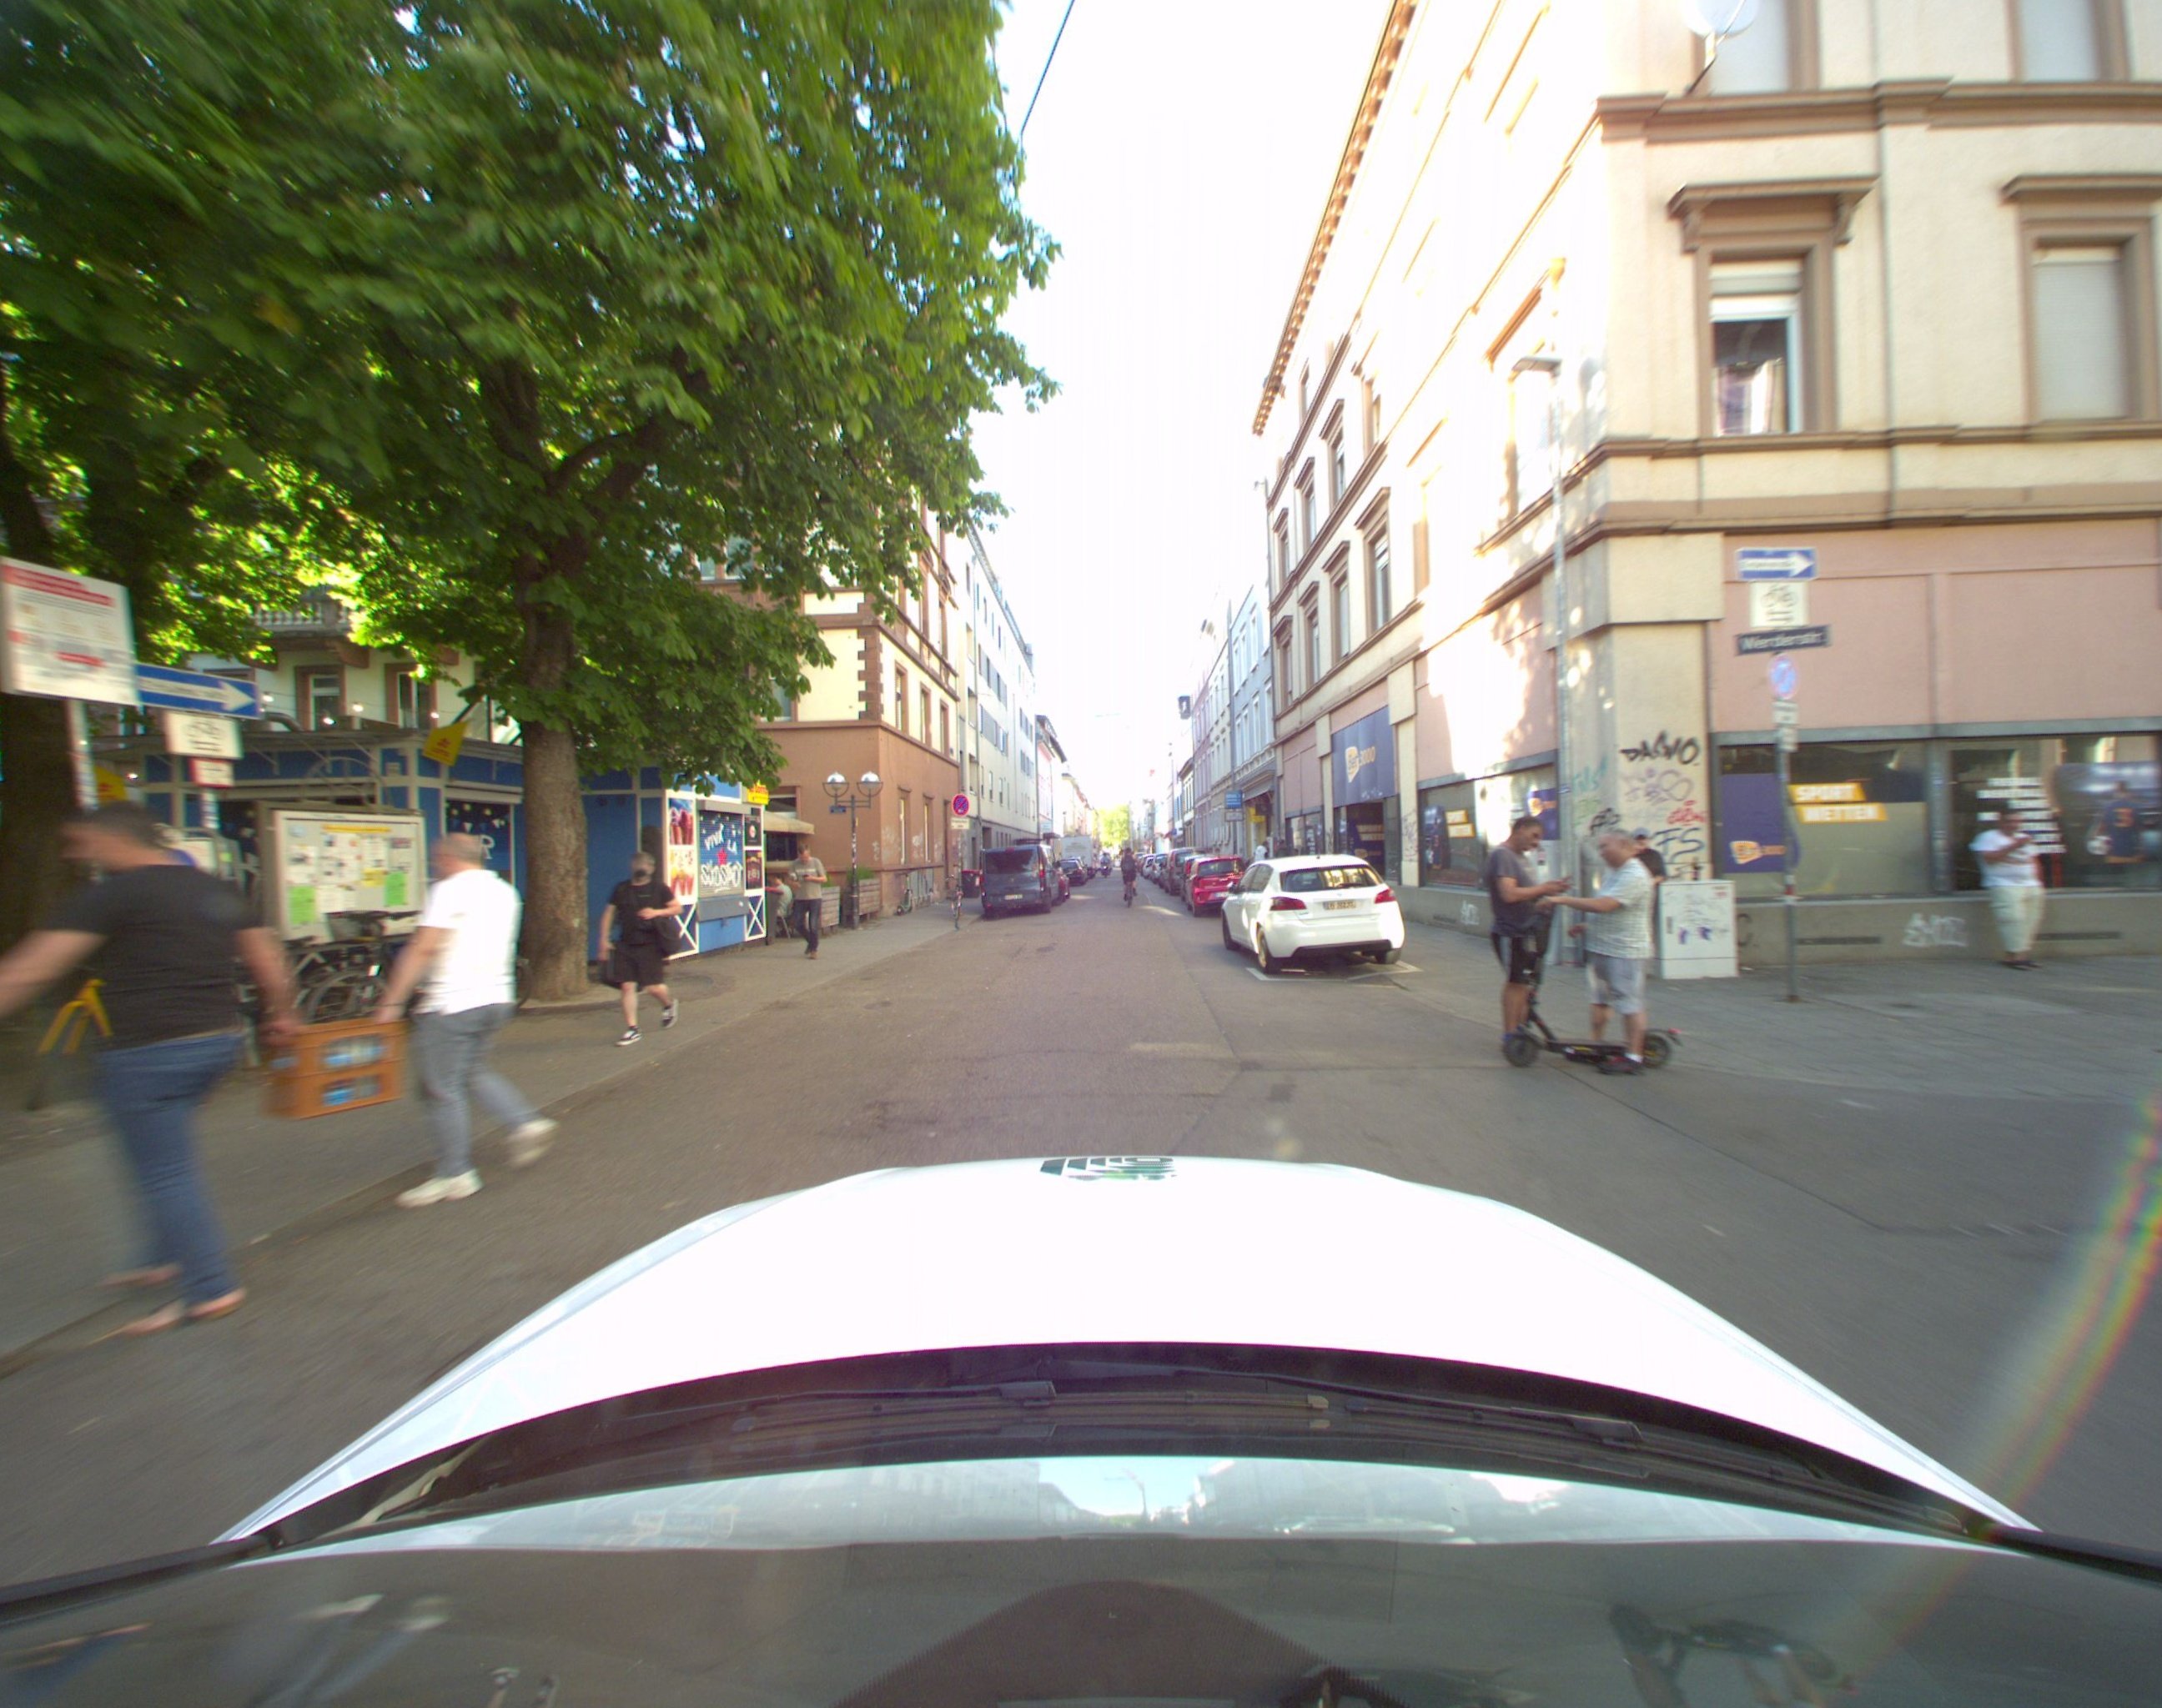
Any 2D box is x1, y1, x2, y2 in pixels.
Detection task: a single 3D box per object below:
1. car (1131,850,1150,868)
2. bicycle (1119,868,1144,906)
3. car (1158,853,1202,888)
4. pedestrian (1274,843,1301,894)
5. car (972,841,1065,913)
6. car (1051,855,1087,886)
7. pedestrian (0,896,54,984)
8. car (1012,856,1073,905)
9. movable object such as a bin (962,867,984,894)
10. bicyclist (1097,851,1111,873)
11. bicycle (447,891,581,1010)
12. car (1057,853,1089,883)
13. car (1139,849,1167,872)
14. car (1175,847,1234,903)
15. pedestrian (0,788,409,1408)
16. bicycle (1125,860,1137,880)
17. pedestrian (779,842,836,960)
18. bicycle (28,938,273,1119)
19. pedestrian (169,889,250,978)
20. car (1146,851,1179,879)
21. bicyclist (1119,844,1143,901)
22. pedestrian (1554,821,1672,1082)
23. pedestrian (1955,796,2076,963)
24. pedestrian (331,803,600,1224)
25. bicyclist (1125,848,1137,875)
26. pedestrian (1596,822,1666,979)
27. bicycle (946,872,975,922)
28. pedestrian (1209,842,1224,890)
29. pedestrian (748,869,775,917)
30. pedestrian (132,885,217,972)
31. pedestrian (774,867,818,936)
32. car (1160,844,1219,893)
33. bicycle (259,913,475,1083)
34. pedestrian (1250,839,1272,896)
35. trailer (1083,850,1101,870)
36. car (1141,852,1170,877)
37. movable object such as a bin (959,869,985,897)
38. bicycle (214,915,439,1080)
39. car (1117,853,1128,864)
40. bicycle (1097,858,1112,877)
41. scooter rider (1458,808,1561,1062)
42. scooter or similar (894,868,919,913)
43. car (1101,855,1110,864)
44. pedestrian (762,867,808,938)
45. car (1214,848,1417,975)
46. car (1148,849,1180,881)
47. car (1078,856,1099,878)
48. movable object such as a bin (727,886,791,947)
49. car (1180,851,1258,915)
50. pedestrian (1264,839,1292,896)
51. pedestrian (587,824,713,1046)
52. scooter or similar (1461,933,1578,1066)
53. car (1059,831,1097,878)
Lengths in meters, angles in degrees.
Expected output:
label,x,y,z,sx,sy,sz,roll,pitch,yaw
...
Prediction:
label,x,y,z,sx,sy,sz,roll,pitch,yaw
car,6.405,0.566,88.304,1.744,1.879,3.972,-3,-1,0
bicycle,1.516,0.983,24.679,0.674,1.074,1.942,-1,-1,2
car,4.508,0.730,37.553,1.547,1.511,3.611,-1,-1,0
pedestrian,6.276,0.439,24.768,0.586,1.529,0.658,-1,-1,-3
car,-1.719,0.604,24.311,2.011,1.879,5.302,-1,0,4
car,-0.603,0.896,45.981,1.710,1.478,4.501,-5,0,2
pedestrian,-16.124,1.284,12.217,0.562,1.268,0.678,-1,-1,1
car,-1.313,0.920,29.431,1.744,1.522,3.871,-5,-1,2
movable object such as a bin,-4.271,1.038,32.318,0.732,1.067,0.502,0,-1,-29
bicyclist,1.747,0.615,61.516,0.946,1.628,0.954,-4,0,3
bicycle,-6.529,1.054,9.504,0.497,1.131,2.030,-1,0,-11
car,-0.457,0.840,51.769,1.710,1.650,4.248,-5,0,2
car,5.664,0.469,64.401,1.911,1.706,4.368,-2,0,2
car,3.960,0.660,26.552,1.563,1.557,3.318,-5,-1,4
pedestrian,-3.175,0.726,2.917,0.691,1.825,1.003,-1,-1,0
bicycle,3.001,0.960,48.771,0.646,1.129,2.137,-1,-1,2
pedestrian,-4.356,0.729,13.015,0.644,1.834,0.698,0,-1,2
bicycle,-6.152,1.115,5.386,1.562,1.082,0.348,-1,-1,12
pedestrian,-13.625,1.226,12.744,0.595,1.321,0.635,-1,-1,8
car,5.010,0.687,50.561,1.690,1.543,4.631,-4,-1,2
bicyclist,1.513,0.562,24.664,0.665,1.677,1.097,-1,-1,2
pedestrian,3.604,0.616,5.517,0.568,1.638,0.522,0,-1,-44
pedestrian,9.952,0.264,8.689,0.688,1.726,0.475,-1,-1,1
pedestrian,-2.908,0.701,3.923,0.758,1.835,0.688,-1,-1,0
bicyclist,2.990,0.463,48.711,0.668,1.567,0.716,-1,-1,1
pedestrian,6.015,0.491,8.919,0.593,1.650,0.468,-1,2,33
bicycle,-3.210,1.107,21.587,0.551,1.216,1.978,-1,-1,-15
pedestrian,4.879,0.418,29.438,0.439,1.704,0.655,-1,-1,3
pedestrian,-8.163,0.998,20.835,0.441,1.186,0.421,3,-2,2
pedestrian,-14.296,1.161,12.855,0.693,1.321,0.615,-1,-1,10
pedestrian,-6.144,1.008,17.588,0.703,1.445,0.617,-1,-1,1
car,4.235,0.545,32.302,1.892,1.793,4.317,-1,-1,2
bicycle,-5.696,1.088,6.619,0.291,1.082,1.579,-1,1,2
pedestrian,5.570,0.406,25.195,0.558,1.740,0.428,-1,-1,3
trailer,1.295,0.641,91.848,1.874,2.092,3.739,-3,-1,2
car,5.152,0.739,56.556,1.680,1.543,4.048,-4,-1,2
movable object such as a bin,-4.207,1.128,31.428,0.752,1.067,0.655,-1,-1,22
bicycle,-6.040,1.089,6.639,0.291,1.046,1.579,-1,1,2
car,6.189,0.640,122.053,1.605,1.560,3.612,-1,-1,2
bicycle,1.791,0.996,61.753,0.973,1.314,2.558,-3,0,3
scooter rider,3.220,0.568,6.117,0.558,1.778,0.615,-1,-1,37
scooter or similar,-4.877,1.012,22.810,0.346,1.216,1.392,-1,-1,2
car,4.896,1.093,162.028,1.743,1.821,3.798,-3,-1,2
pedestrian,-6.170,1.004,16.983,0.703,1.445,0.617,-1,-1,1
car,3.181,0.722,11.946,1.781,1.516,4.136,-1,-1,0
car,4.645,0.593,45.799,1.550,1.712,3.560,-1,-1,2
car,0.753,1.214,76.431,1.746,1.816,4.079,-4,-1,2
movable object such as a bin,-6.027,1.152,15.287,0.866,1.086,0.774,-1,-1,3
car,3.633,0.734,21.877,1.600,1.572,3.555,-1,-1,2
pedestrian,6.186,0.425,25.559,0.628,1.740,0.656,-1,-1,-11
pedestrian,-3.825,0.688,7.277,0.713,1.873,0.720,-1,-1,2
scooter or similar,3.229,1.044,6.057,0.392,0.828,0.926,-1,-1,3
car,-0.139,0.071,62.327,2.334,3.291,7.159,-4,-1,3
